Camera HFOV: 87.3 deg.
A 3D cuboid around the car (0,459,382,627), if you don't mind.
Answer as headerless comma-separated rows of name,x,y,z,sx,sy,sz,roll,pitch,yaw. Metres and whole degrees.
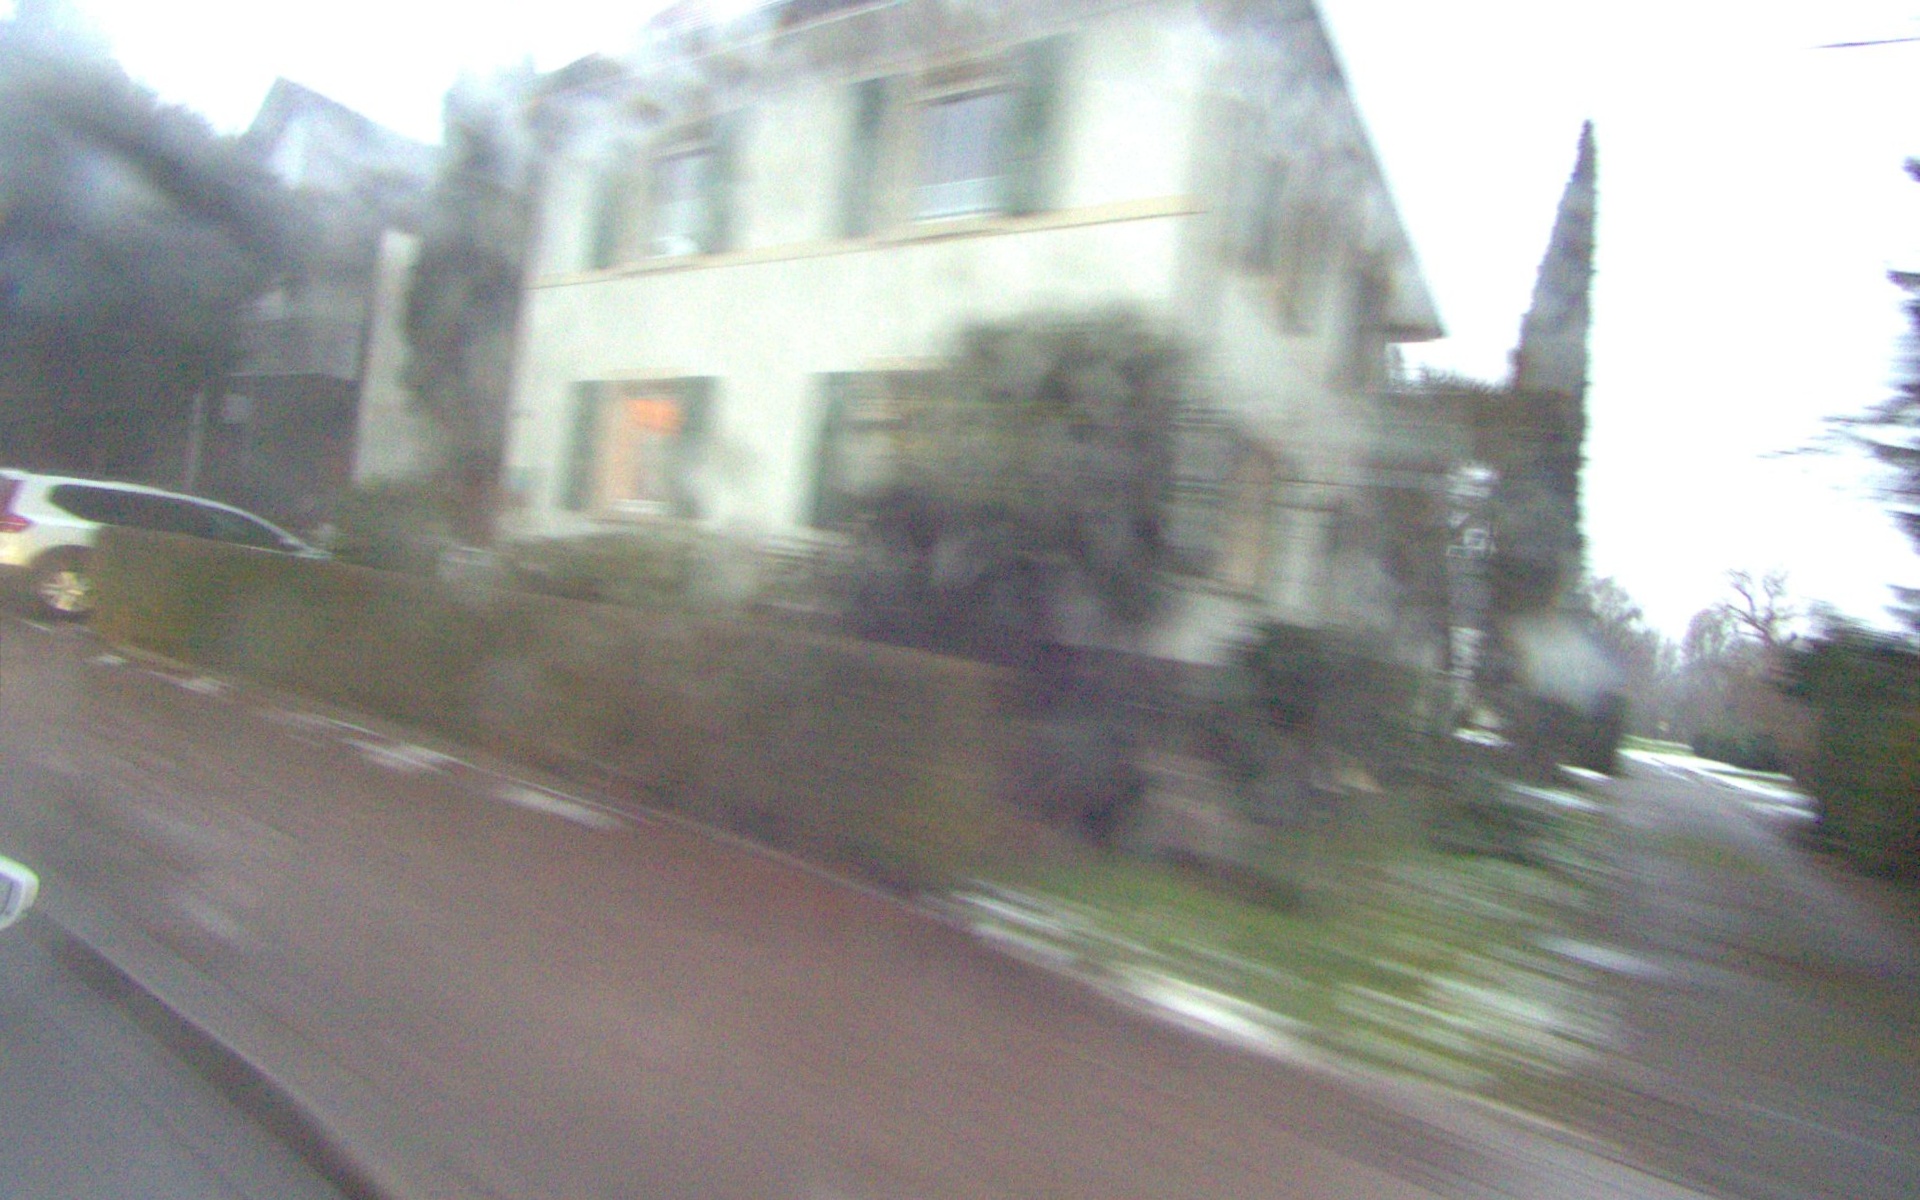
car,-10.324,-0.664,13.135,1.966,1.754,4.327,7,1,30
